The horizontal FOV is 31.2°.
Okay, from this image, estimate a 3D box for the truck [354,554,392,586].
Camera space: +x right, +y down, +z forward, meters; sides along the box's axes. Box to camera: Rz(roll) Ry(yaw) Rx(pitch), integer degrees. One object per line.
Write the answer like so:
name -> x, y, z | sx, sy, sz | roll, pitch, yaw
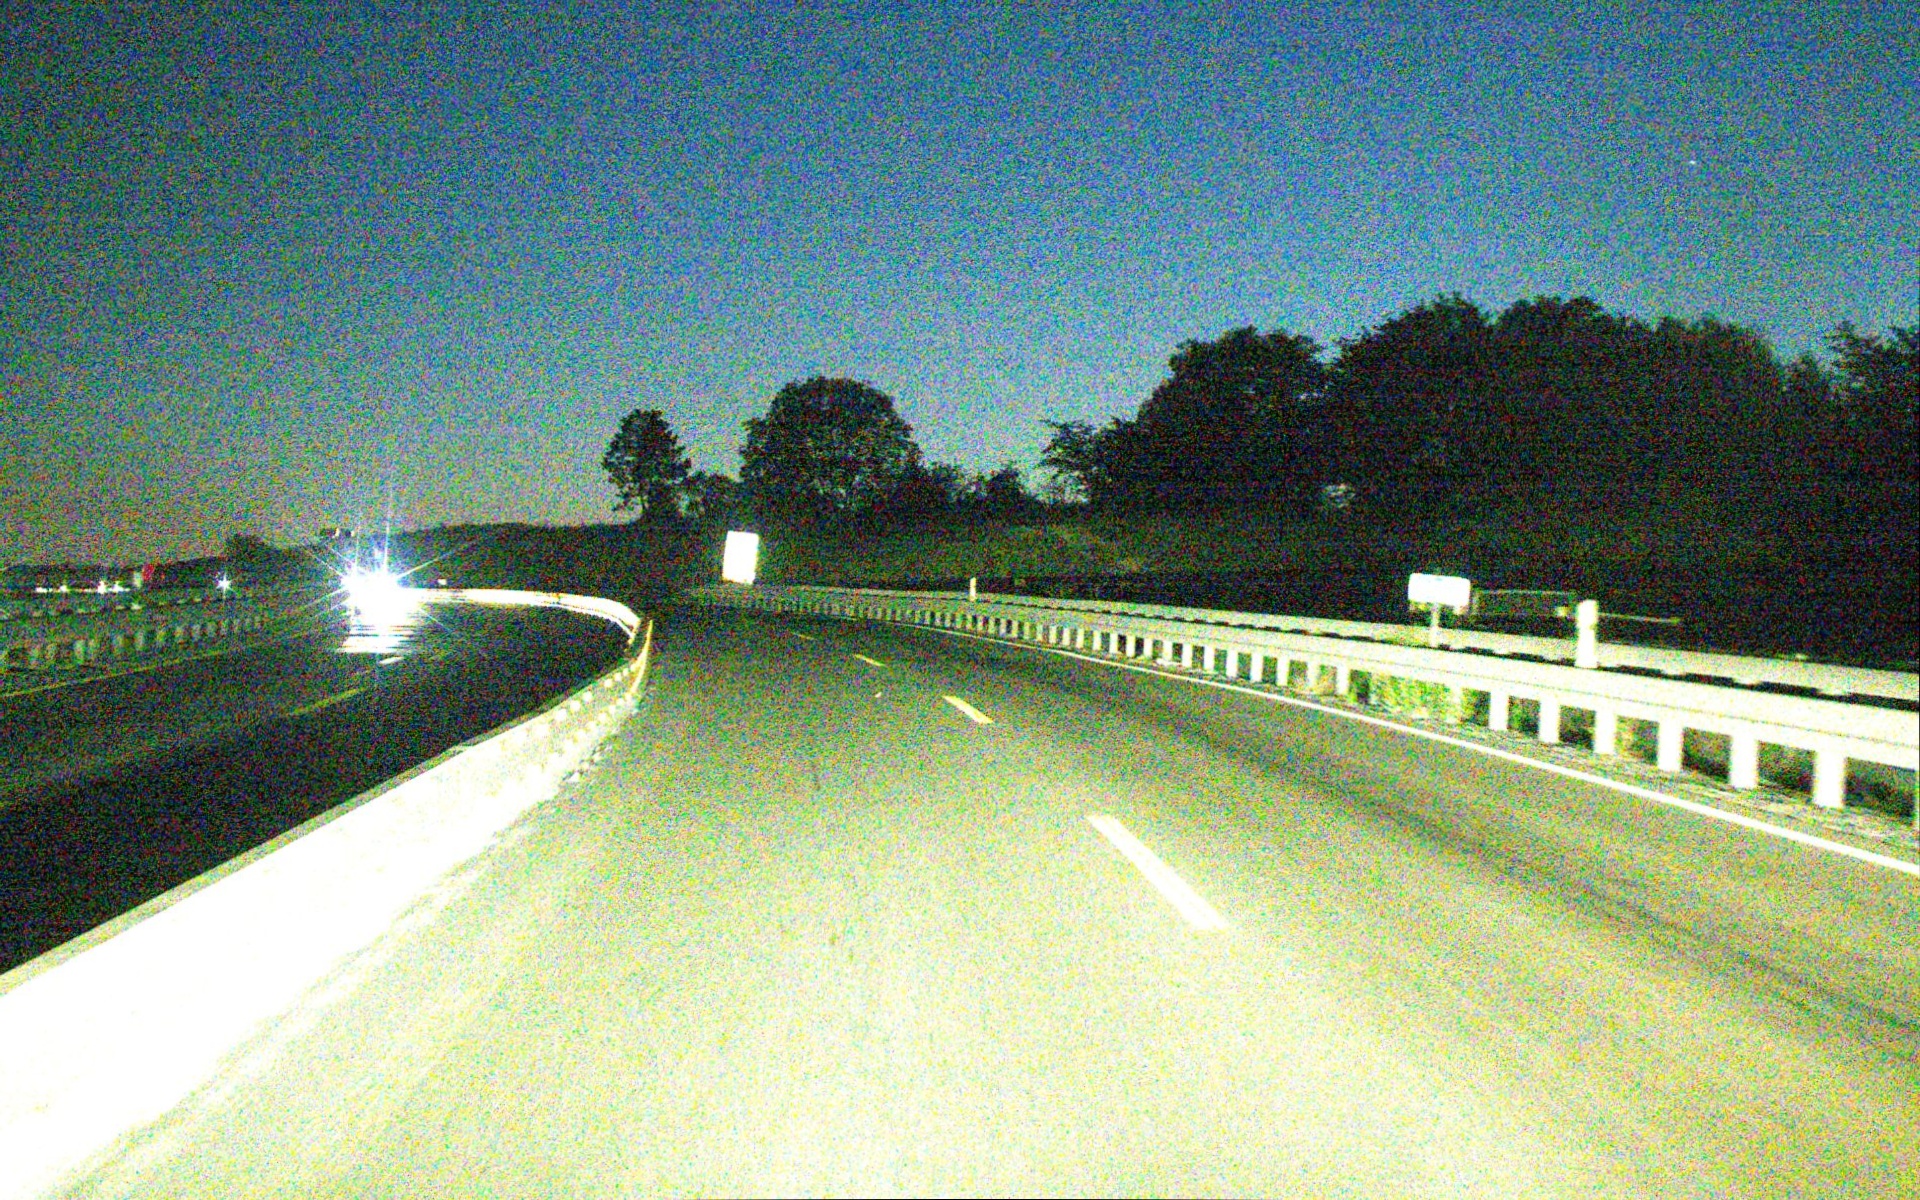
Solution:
truck -> -28.170, -1.413, 164.969 | 1.682, 1.465, 4.154 | 1, 0, -11
